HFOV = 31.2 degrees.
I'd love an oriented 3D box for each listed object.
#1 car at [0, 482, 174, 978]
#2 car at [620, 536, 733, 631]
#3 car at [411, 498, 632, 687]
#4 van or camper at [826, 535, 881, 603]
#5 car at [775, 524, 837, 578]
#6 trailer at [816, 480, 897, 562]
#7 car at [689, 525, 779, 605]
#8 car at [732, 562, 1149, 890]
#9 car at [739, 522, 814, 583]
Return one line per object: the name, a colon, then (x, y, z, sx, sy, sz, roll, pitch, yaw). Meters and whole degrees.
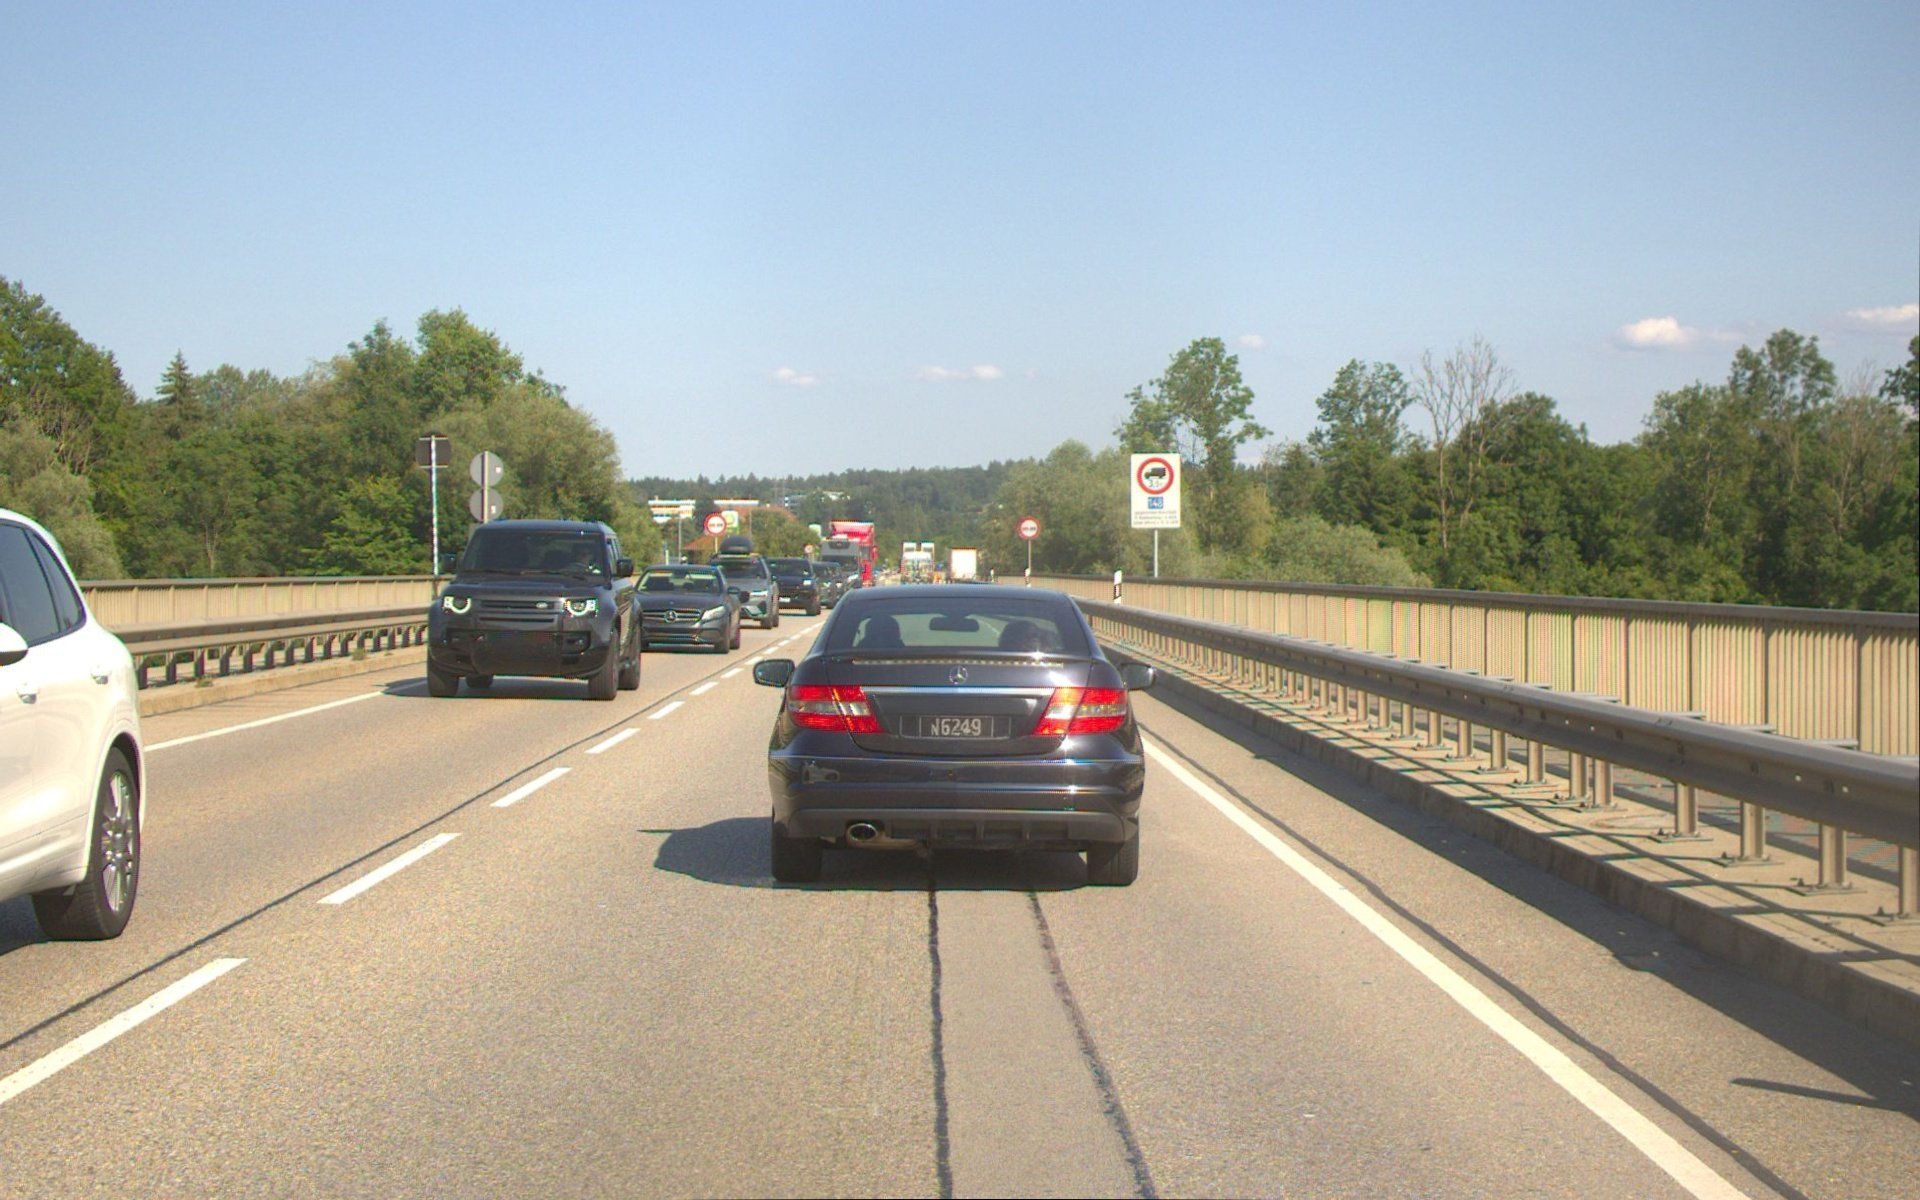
car: (-4.161, 0.408, 11.575, 1.983, 1.645, 4.598, 1, 1, 0)
car: (-4.667, -0.303, 56.901, 1.765, 1.442, 4.457, 1, 1, -4)
car: (-4.755, -0.138, 37.931, 2.037, 1.867, 5.071, 2, 1, -4)
van or camper: (-4.992, -1.450, 160.346, 2.315, 3.040, 6.818, 2, 1, -3)
car: (-5.271, -1.689, 117.281, 1.806, 1.572, 4.202, 7, 1, -4)
trailer: (-6.082, -4.640, 198.898, 2.907, 4.287, 14.306, 7, 1, -7)
car: (-5.161, -0.831, 79.057, 1.854, 1.716, 4.566, 2, 1, -2)
car: (-0.102, 0.528, 16.978, 1.793, 1.371, 4.000, 1, 1, 0)
car: (-5.438, -1.429, 101.494, 2.053, 1.647, 4.722, 2, 1, -4)
